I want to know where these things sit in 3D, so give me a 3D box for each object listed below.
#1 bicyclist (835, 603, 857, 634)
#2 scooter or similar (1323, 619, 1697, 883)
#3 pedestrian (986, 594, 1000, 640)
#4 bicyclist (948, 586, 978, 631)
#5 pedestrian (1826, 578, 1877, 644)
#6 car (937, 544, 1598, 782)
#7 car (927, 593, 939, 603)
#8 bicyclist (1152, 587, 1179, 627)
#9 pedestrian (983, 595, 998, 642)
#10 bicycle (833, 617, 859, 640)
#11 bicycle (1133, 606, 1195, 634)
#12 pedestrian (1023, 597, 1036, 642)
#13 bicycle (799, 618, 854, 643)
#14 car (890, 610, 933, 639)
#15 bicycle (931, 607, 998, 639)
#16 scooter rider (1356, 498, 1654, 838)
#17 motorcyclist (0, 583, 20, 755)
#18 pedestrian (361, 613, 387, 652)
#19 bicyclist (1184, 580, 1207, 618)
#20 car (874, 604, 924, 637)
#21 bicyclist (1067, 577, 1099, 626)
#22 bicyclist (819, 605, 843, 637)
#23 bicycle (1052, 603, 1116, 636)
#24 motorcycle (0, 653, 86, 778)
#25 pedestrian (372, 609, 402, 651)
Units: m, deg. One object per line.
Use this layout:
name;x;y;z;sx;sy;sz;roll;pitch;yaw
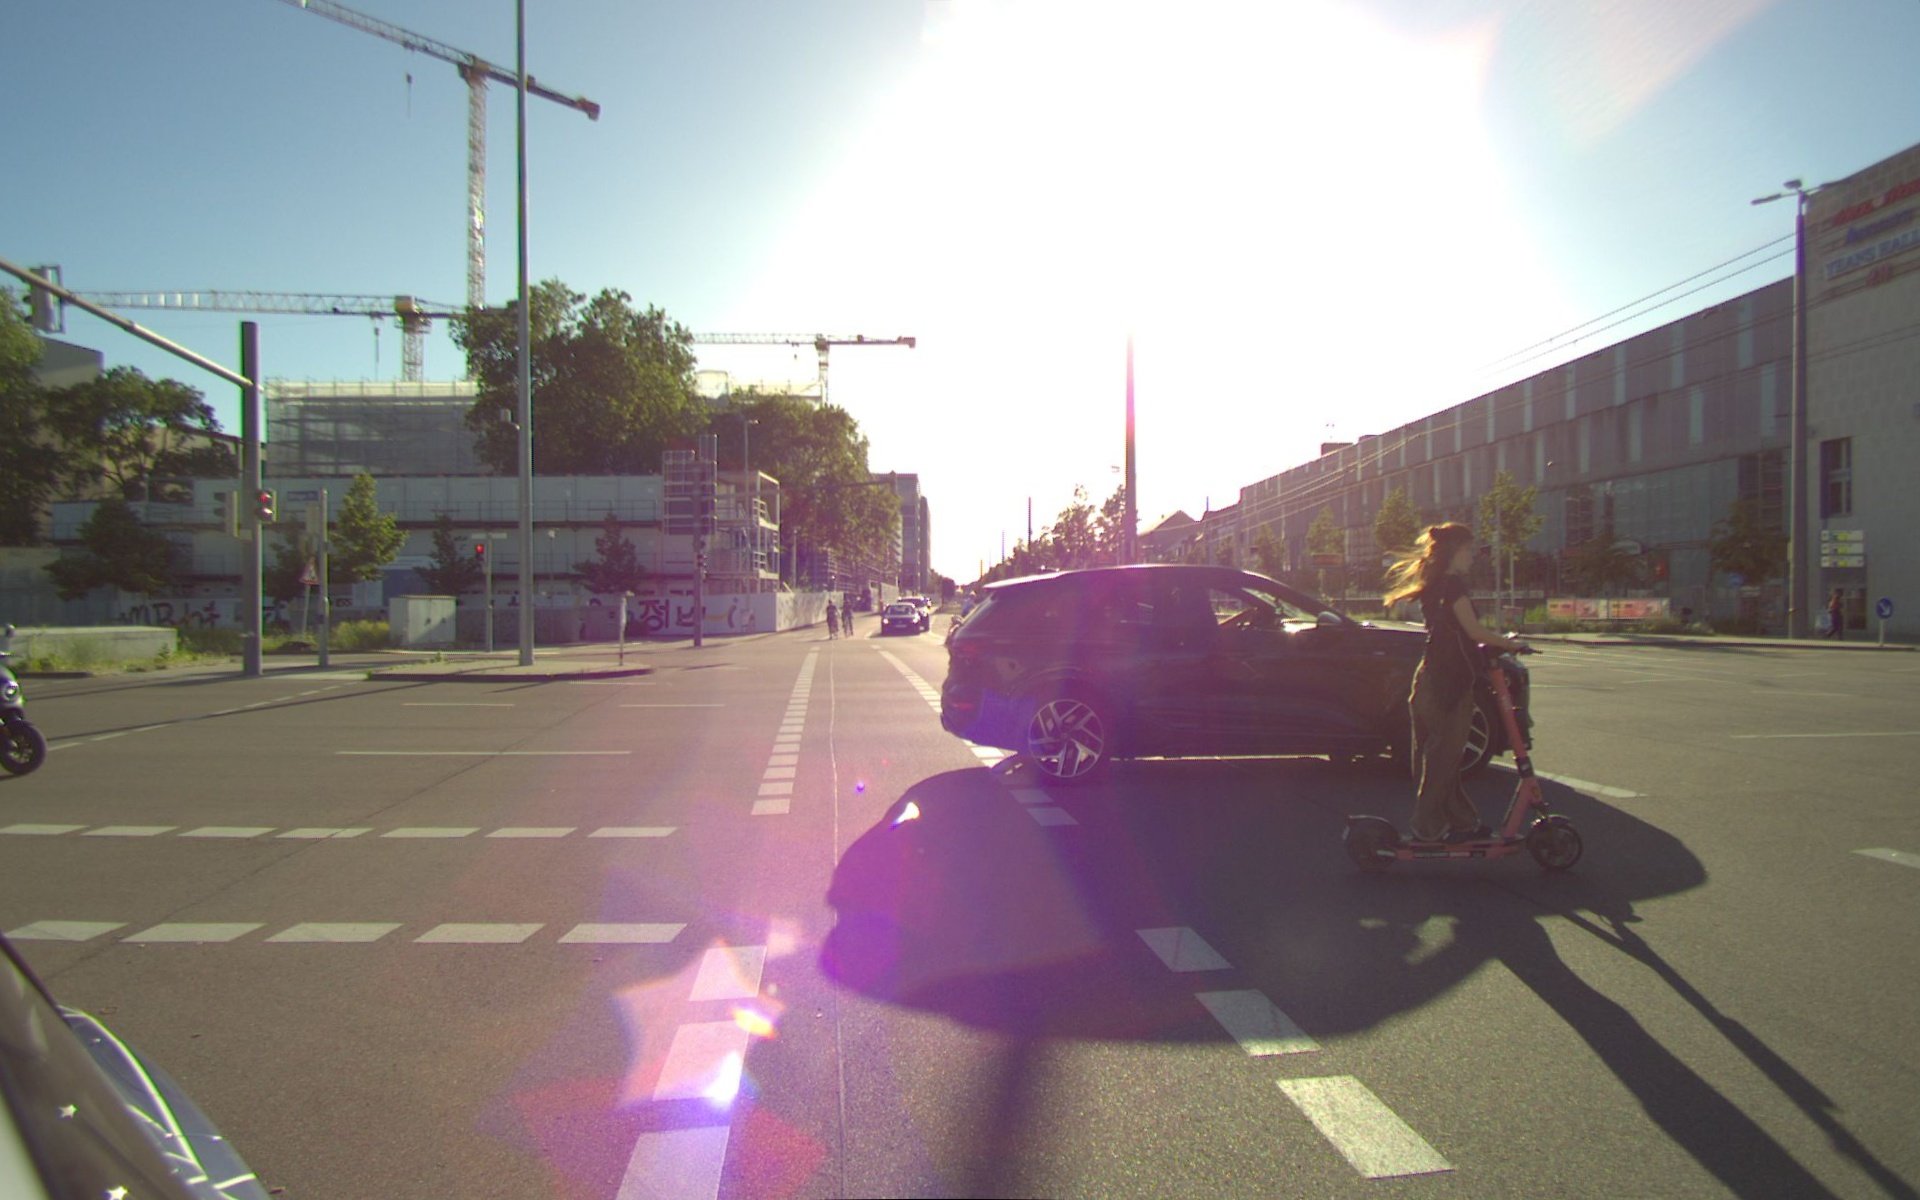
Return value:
bicyclist;-4.894;0.801;43.430;0.795;1.307;0.776;-1;0;3
scooter or similar;2.633;0.701;4.967;1.464;1.184;0.644;-1;0;3
pedestrian;1.156;0.590;35.588;0.445;1.578;0.519;-1;-1;5
bicyclist;0.102;0.259;32.590;0.833;1.412;0.804;-2;0;7
pedestrian;29.371;0.357;33.347;0.931;2.140;0.901;0;0;-18
car;2.222;0.470;8.439;4.727;1.675;2.200;-1;0;2
car;-3.968;-0.271;148.475;1.760;1.335;4.002;0;1;-2
bicyclist;7.241;0.242;35.707;0.831;1.367;0.804;-2;0;6
pedestrian;1.048;0.628;34.779;0.445;1.578;0.519;-1;-1;5
bicycle;-4.884;1.214;43.418;0.795;0.934;2.076;-2;0;2
bicycle;7.169;0.694;35.710;2.052;0.934;0.804;-2;0;7
pedestrian;2.480;0.695;36.105;0.445;1.578;0.519;-1;-1;5
bicycle;-5.403;1.231;40.994;2.063;0.934;0.800;-2;0;22
car;-2.435;1.238;51.905;1.972;1.386;3.999;-2;0;1
bicycle;0.152;0.734;32.569;2.052;0.986;0.804;-2;0;8
scooter rider;2.626;0.313;4.971;1.102;1.555;0.644;-1;0;3
motorcyclist;-8.816;0.609;8.634;0.869;1.495;0.757;-1;0;0
pedestrian;-22.374;1.245;38.649;0.646;1.464;0.603;-1;-1;6
bicyclist;9.369;-0.034;40.317;0.746;1.516;0.617;-1;-1;2
car;-2.724;0.904;46.028;1.972;1.386;3.999;-2;0;1
bicyclist;3.924;0.049;32.394;0.928;1.556;0.649;-1;-1;1
bicyclist;-5.207;0.847;40.927;0.633;1.280;0.800;-2;0;21
bicycle;3.956;0.633;32.379;1.951;1.004;0.649;-1;-1;1
motorcycle;-8.754;0.977;8.636;1.932;0.976;0.757;-1;0;0
pedestrian;-22.397;1.160;39.554;0.646;1.601;0.839;-1;-1;5
